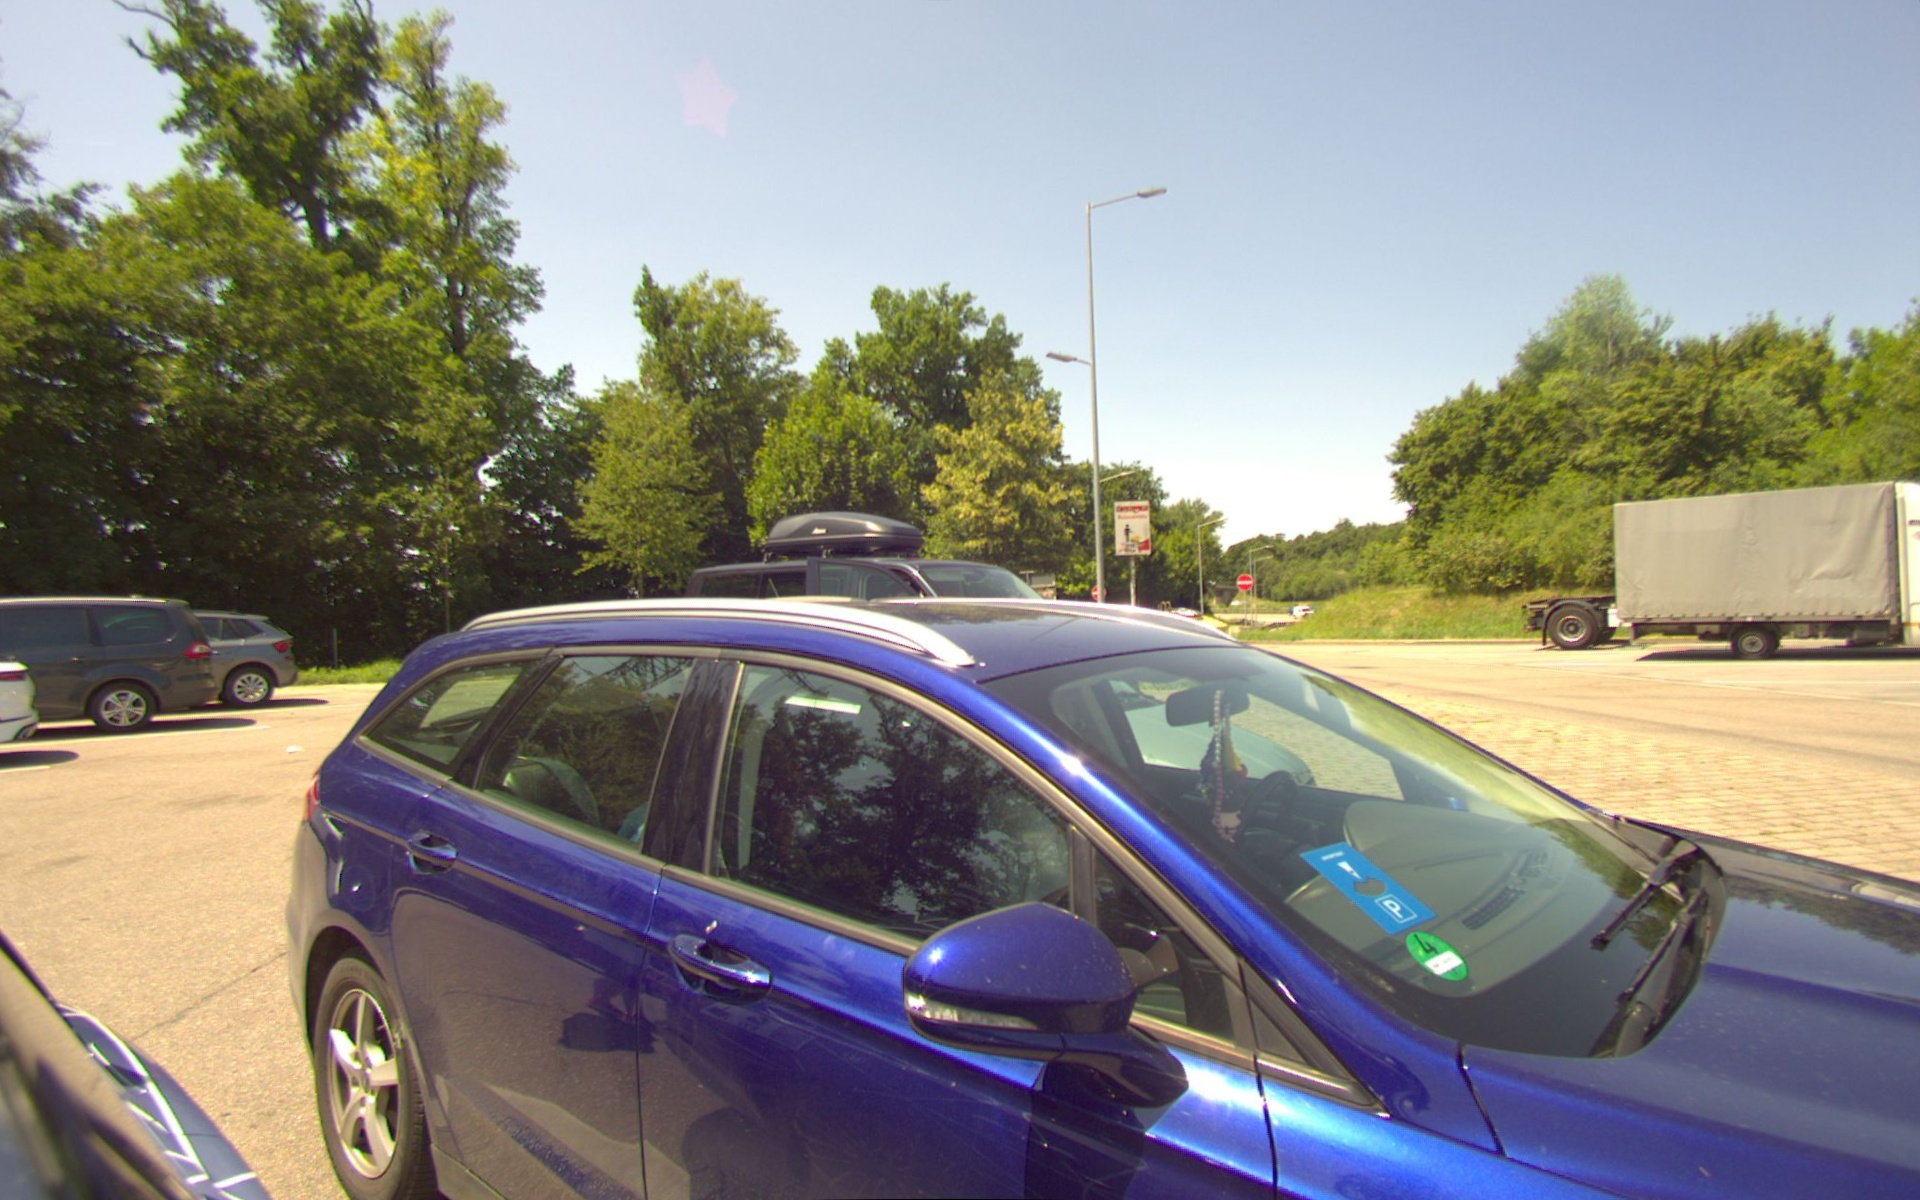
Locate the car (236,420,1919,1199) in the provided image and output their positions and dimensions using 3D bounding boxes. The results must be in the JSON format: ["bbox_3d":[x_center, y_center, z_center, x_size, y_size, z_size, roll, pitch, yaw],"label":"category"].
[{"bbox_3d":[0.237,0.651,2.083,4.427,1.455,1.763,-2,-1,40],"label":"car"}]

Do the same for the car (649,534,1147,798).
[{"bbox_3d":[-0.735,0.534,9.415,4.426,1.875,2.022,-2,-1,40],"label":"car"}]

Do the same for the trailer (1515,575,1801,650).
[{"bbox_3d":[16.327,0.345,23.917,5.393,1.608,1.576,-2,-1,41],"label":"trailer"}]

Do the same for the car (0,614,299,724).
[{"bbox_3d":[-12.599,0.974,15.610,3.753,1.488,1.743,0,-1,-45],"label":"car"}]

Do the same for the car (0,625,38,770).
[{"bbox_3d":[-10.962,0.945,9.196,3.753,1.377,1.804,0,-1,-45],"label":"car"}]

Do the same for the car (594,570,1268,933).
[{"bbox_3d":[-0.367,0.651,5.804,3.739,1.424,1.587,-2,-1,40],"label":"car"}]

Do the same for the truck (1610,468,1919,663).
[{"bbox_3d":[16.707,-0.620,18.844,7.308,3.258,2.294,-5,-2,43],"label":"truck"}]

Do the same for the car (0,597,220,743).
[{"bbox_3d":[-11.716,0.838,12.584,3.830,1.703,1.883,0,-2,-45],"label":"car"}]
